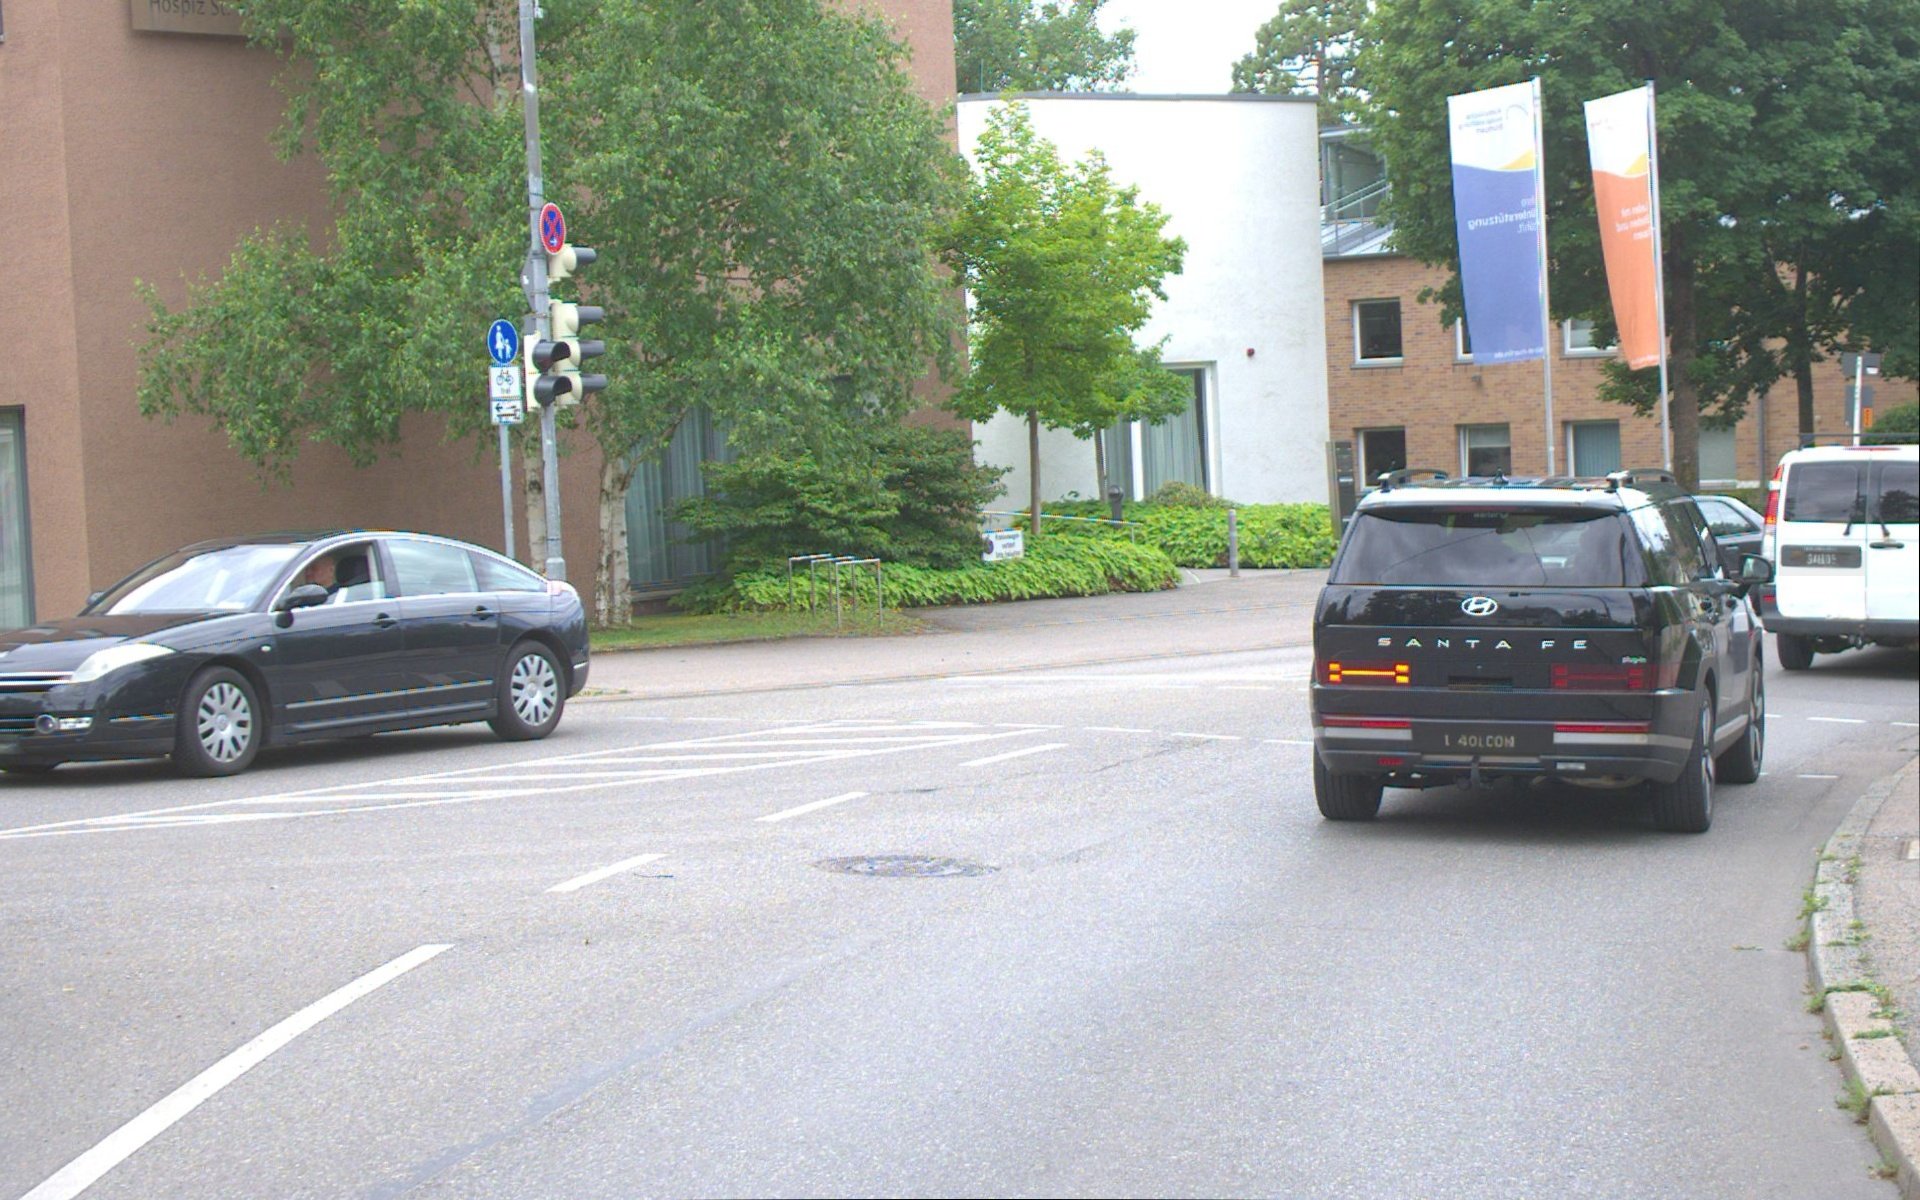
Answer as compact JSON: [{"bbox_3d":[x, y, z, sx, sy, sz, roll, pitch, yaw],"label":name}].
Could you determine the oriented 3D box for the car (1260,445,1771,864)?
[{"bbox_3d":[2.973,0.171,17.683,1.995,1.875,3.997,1,2,18],"label":"car"}]

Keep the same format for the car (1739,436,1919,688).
[{"bbox_3d":[8.314,-0.378,29.547,1.965,2.006,4.421,2,2,29],"label":"car"}]

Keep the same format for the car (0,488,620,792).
[{"bbox_3d":[-4.494,0.179,21.954,1.997,1.652,4.776,-1,2,34],"label":"car"}]
